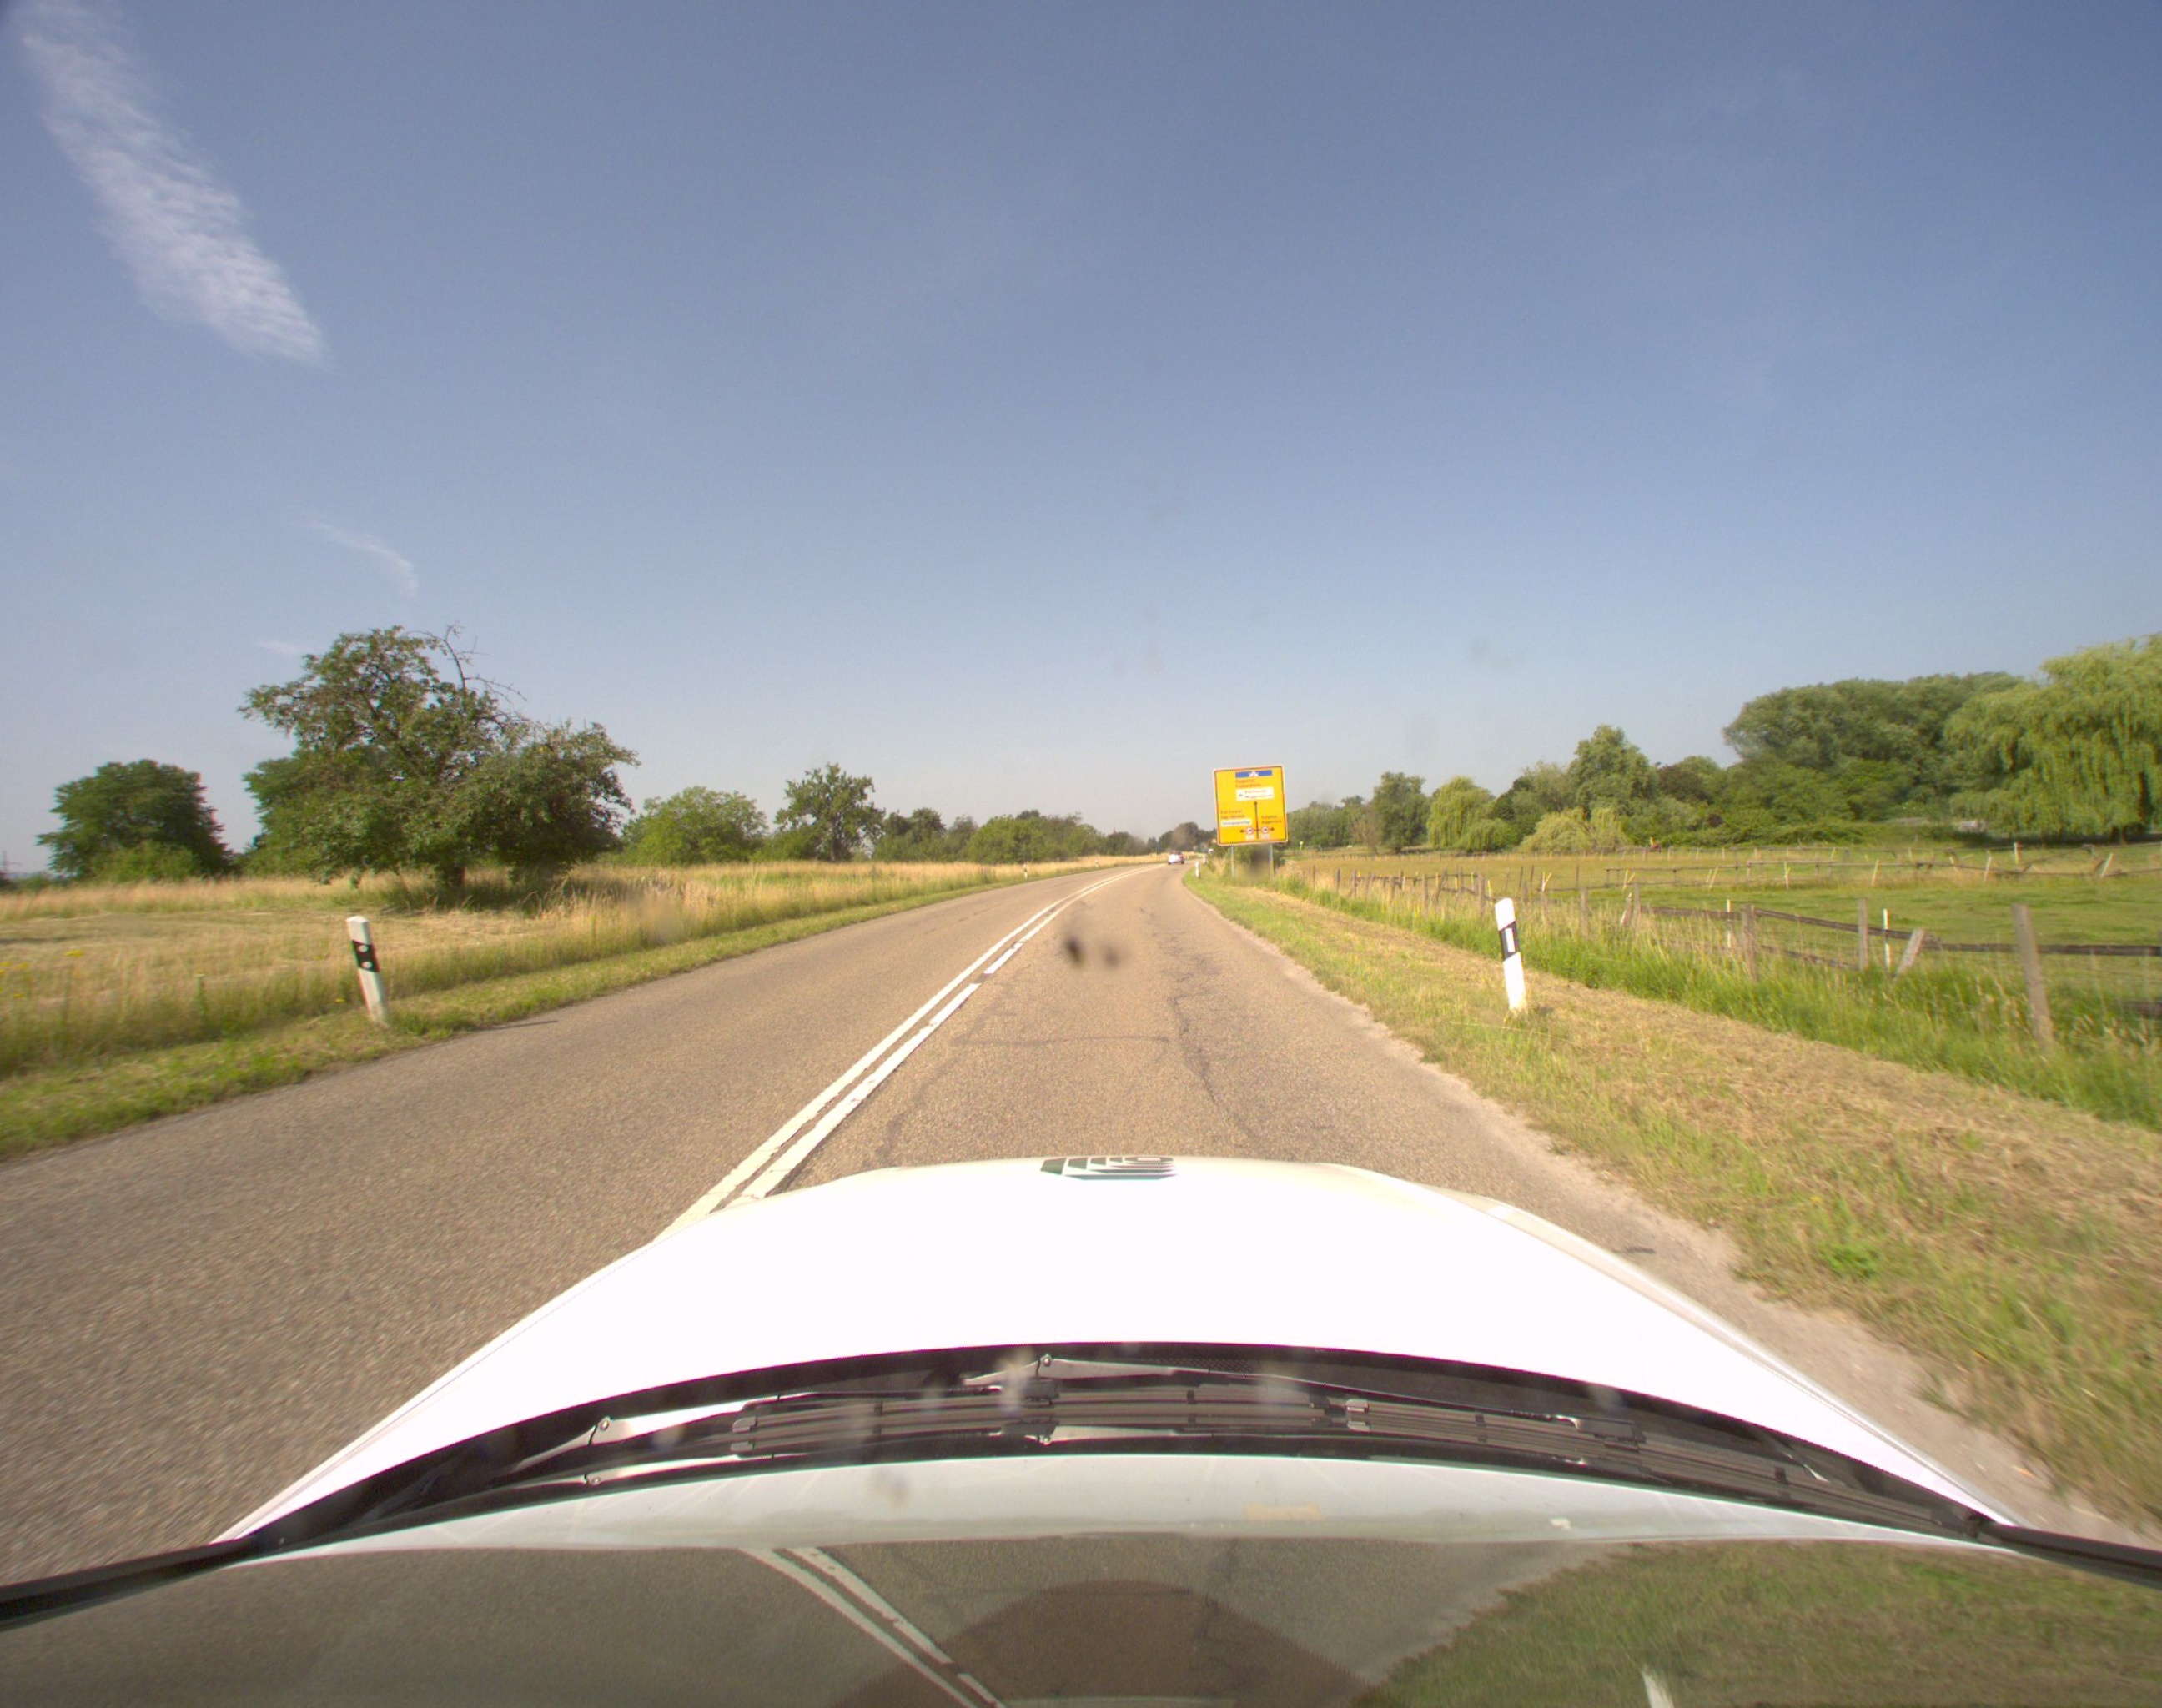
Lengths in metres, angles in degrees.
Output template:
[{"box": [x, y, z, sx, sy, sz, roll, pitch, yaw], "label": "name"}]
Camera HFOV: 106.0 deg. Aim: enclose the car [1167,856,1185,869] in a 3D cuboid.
[{"box": [11.529, 0.978, 98.792, 1.887, 1.512, 4.012, -1, 0, 10], "label": "car"}]
